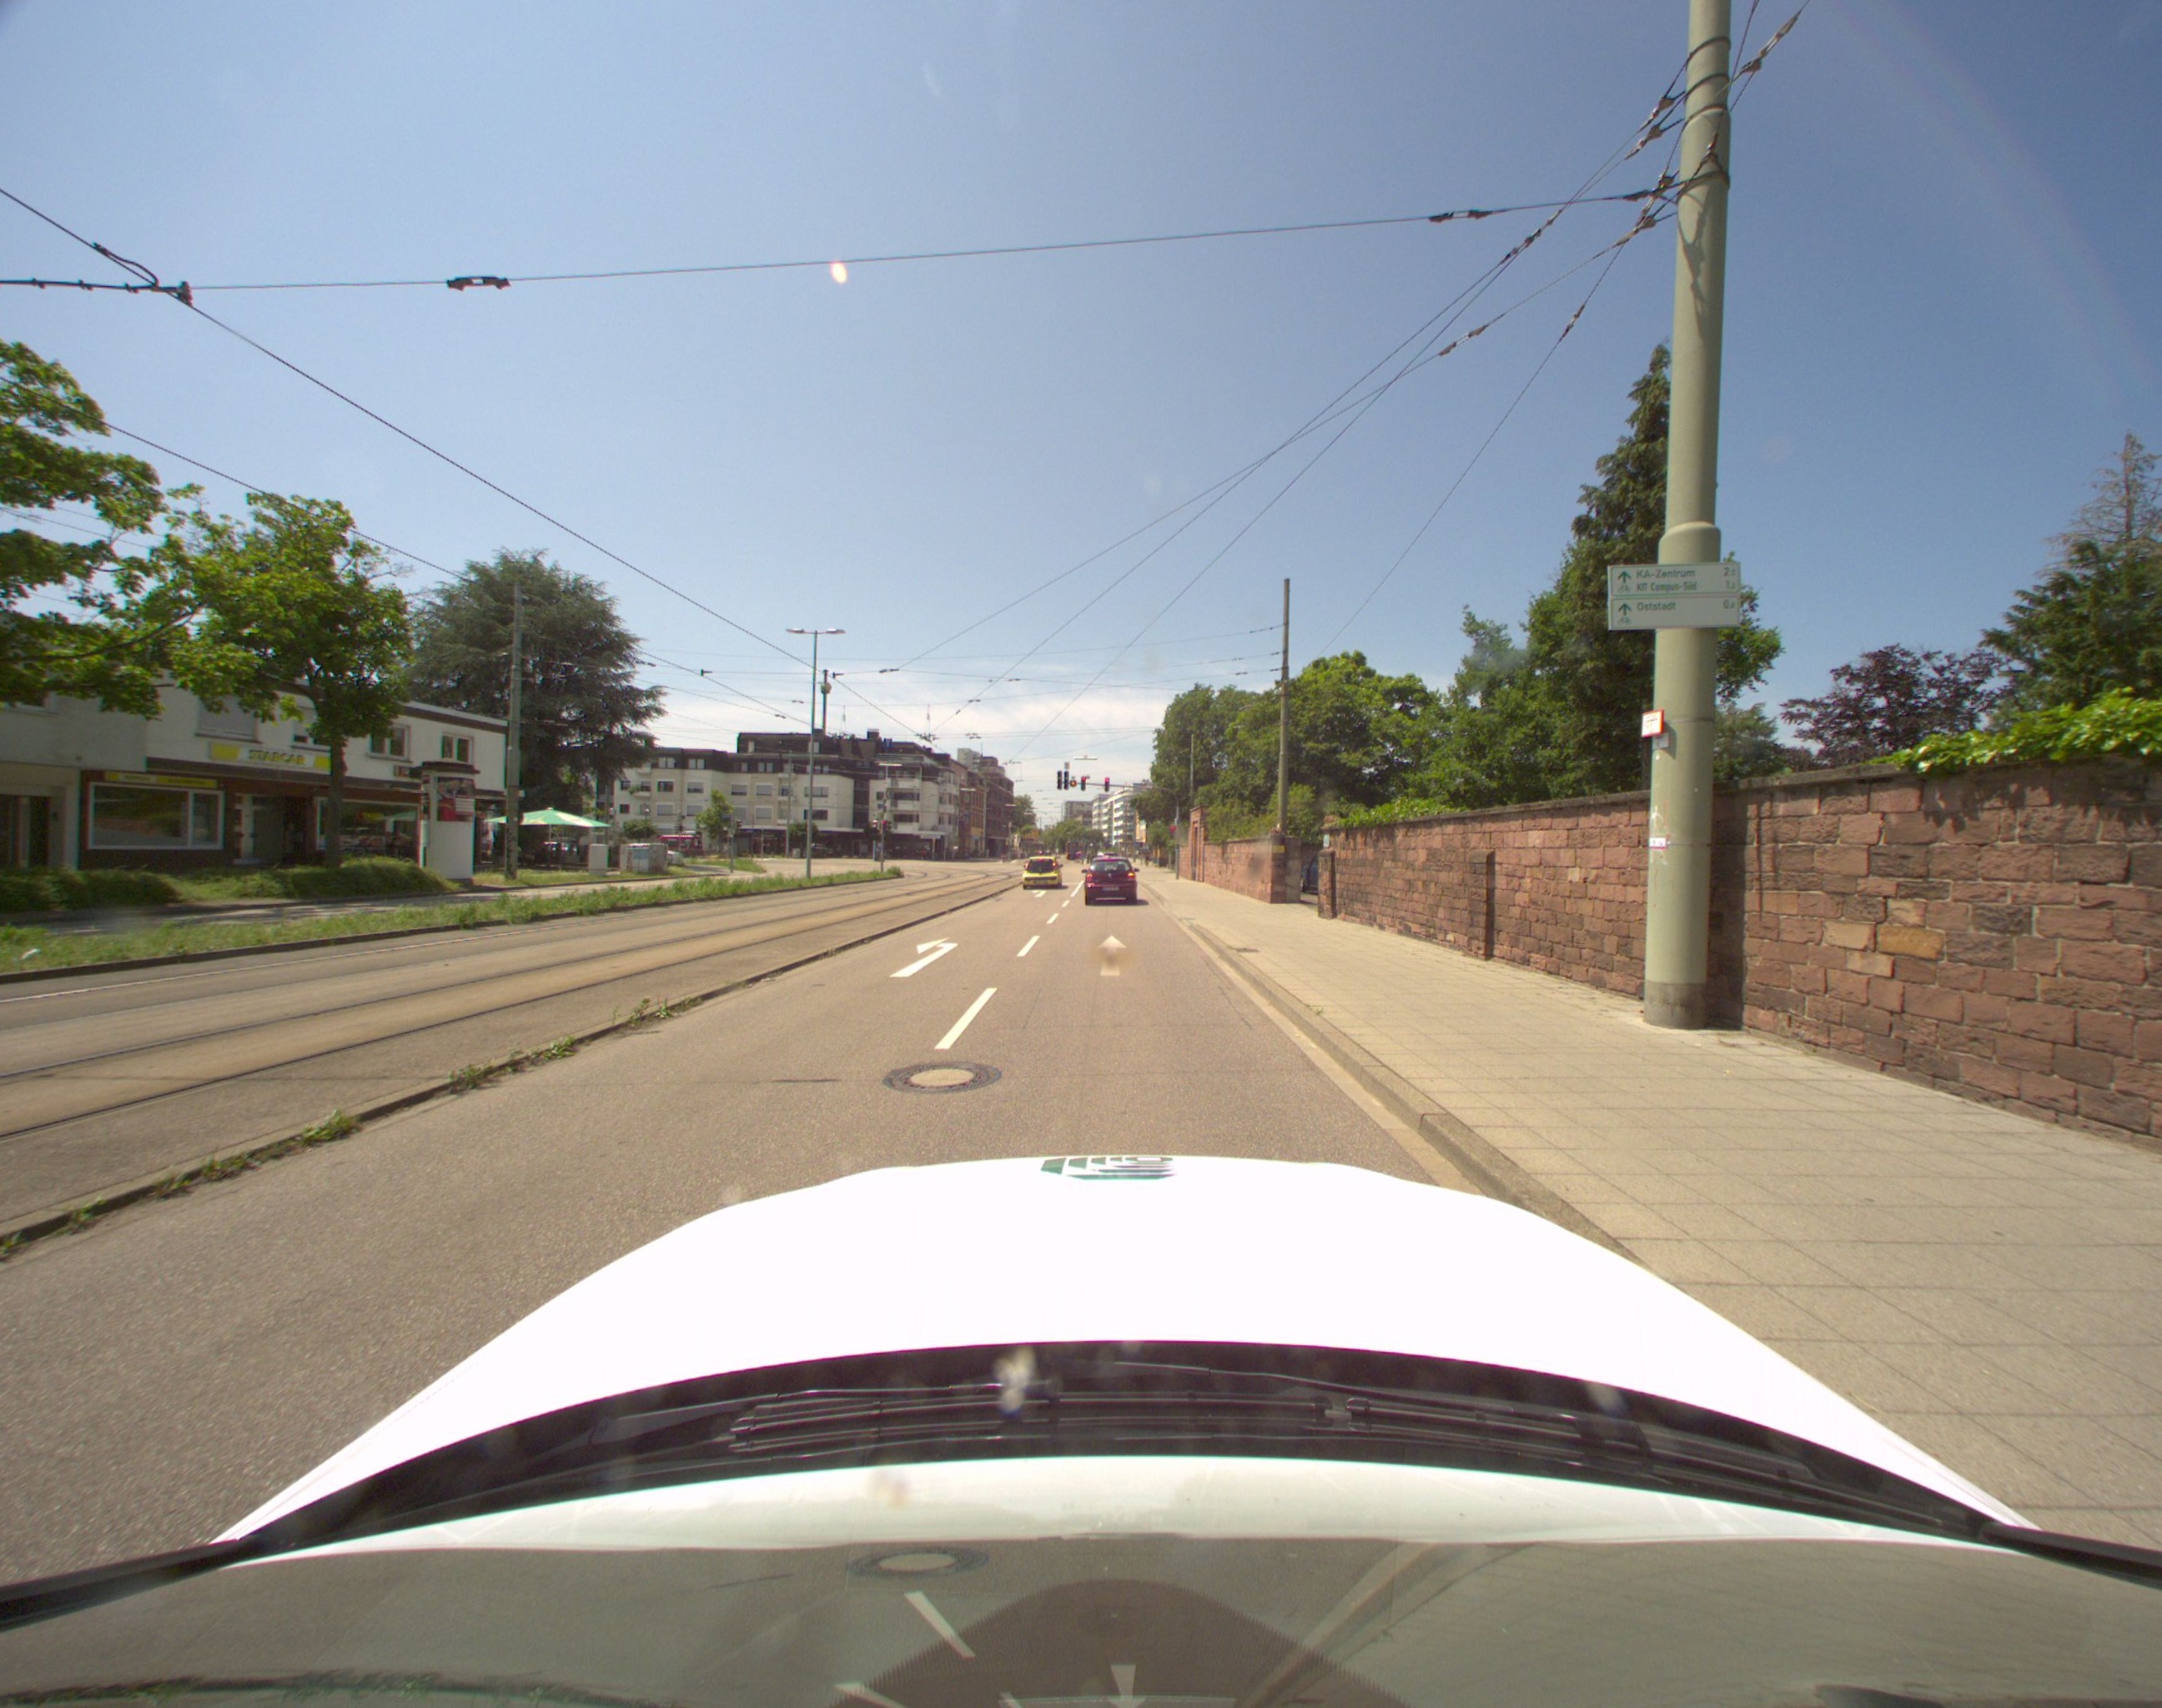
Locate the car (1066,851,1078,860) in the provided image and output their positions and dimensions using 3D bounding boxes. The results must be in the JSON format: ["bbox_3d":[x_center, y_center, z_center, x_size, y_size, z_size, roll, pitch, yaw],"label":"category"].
[{"bbox_3d":[-1.597,0.335,149.179,1.931,1.641,4.001,0,-1,2],"label":"car"}]

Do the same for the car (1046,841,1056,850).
[{"bbox_3d":[-6.872,-1.898,186.725,1.728,2.013,4.002,1,0,2],"label":"car"}]

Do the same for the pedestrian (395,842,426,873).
[{"bbox_3d":[-27.983,0.133,33.993,0.587,1.268,0.842,0,-1,2],"label":"pedestrian"}]

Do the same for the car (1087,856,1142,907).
[{"bbox_3d":[1.062,0.818,26.274,1.604,1.463,4.087,-1,0,2],"label":"car"}]

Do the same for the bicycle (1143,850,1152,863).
[{"bbox_3d":[7.765,0.342,95.583,0.831,1.525,4.002,0,-1,2],"label":"bicycle"}]

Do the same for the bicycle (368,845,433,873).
[{"bbox_3d":[-25.144,0.197,30.140,0.608,0.979,2.030,0,-1,2],"label":"bicycle"}]

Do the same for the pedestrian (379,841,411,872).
[{"bbox_3d":[-28.627,0.104,33.975,0.587,1.268,0.842,0,-1,2],"label":"pedestrian"}]

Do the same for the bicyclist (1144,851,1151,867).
[{"bbox_3d":[7.696,0.543,94.589,0.718,1.818,0.889,0,-1,2],"label":"bicyclist"}]

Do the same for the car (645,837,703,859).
[{"bbox_3d":[-43.737,-0.613,87.528,5.047,2.341,2.245,0,-1,0],"label":"car"}]

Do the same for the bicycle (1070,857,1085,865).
[{"bbox_3d":[-0.477,0.840,102.893,1.861,1.008,0.578,0,-1,-3],"label":"bicycle"}]

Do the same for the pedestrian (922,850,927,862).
[{"bbox_3d":[-19.803,0.240,103.088,0.479,1.541,0.541,-1,-1,35],"label":"pedestrian"}]

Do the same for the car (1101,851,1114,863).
[{"bbox_3d":[3.274,0.346,100.080,1.566,1.415,3.721,-1,0,2],"label":"car"}]

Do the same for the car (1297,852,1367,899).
[{"bbox_3d":[8.531,0.681,27.862,1.476,1.482,2.944,1,0,0],"label":"car"}]

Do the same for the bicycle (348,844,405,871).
[{"bbox_3d":[-26.427,0.142,30.595,0.536,0.979,1.760,0,-1,2],"label":"bicycle"}]

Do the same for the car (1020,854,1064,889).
[{"bbox_3d":[-1.707,0.772,37.004,1.717,1.445,3.294,-1,1,2],"label":"car"}]

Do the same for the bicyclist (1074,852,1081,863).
[{"bbox_3d":[-0.443,0.492,102.897,0.764,1.406,0.506,0,-1,-2],"label":"bicyclist"}]

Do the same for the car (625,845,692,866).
[{"bbox_3d":[-33.173,0.116,63.924,4.525,1.610,1.734,0,-1,11],"label":"car"}]
